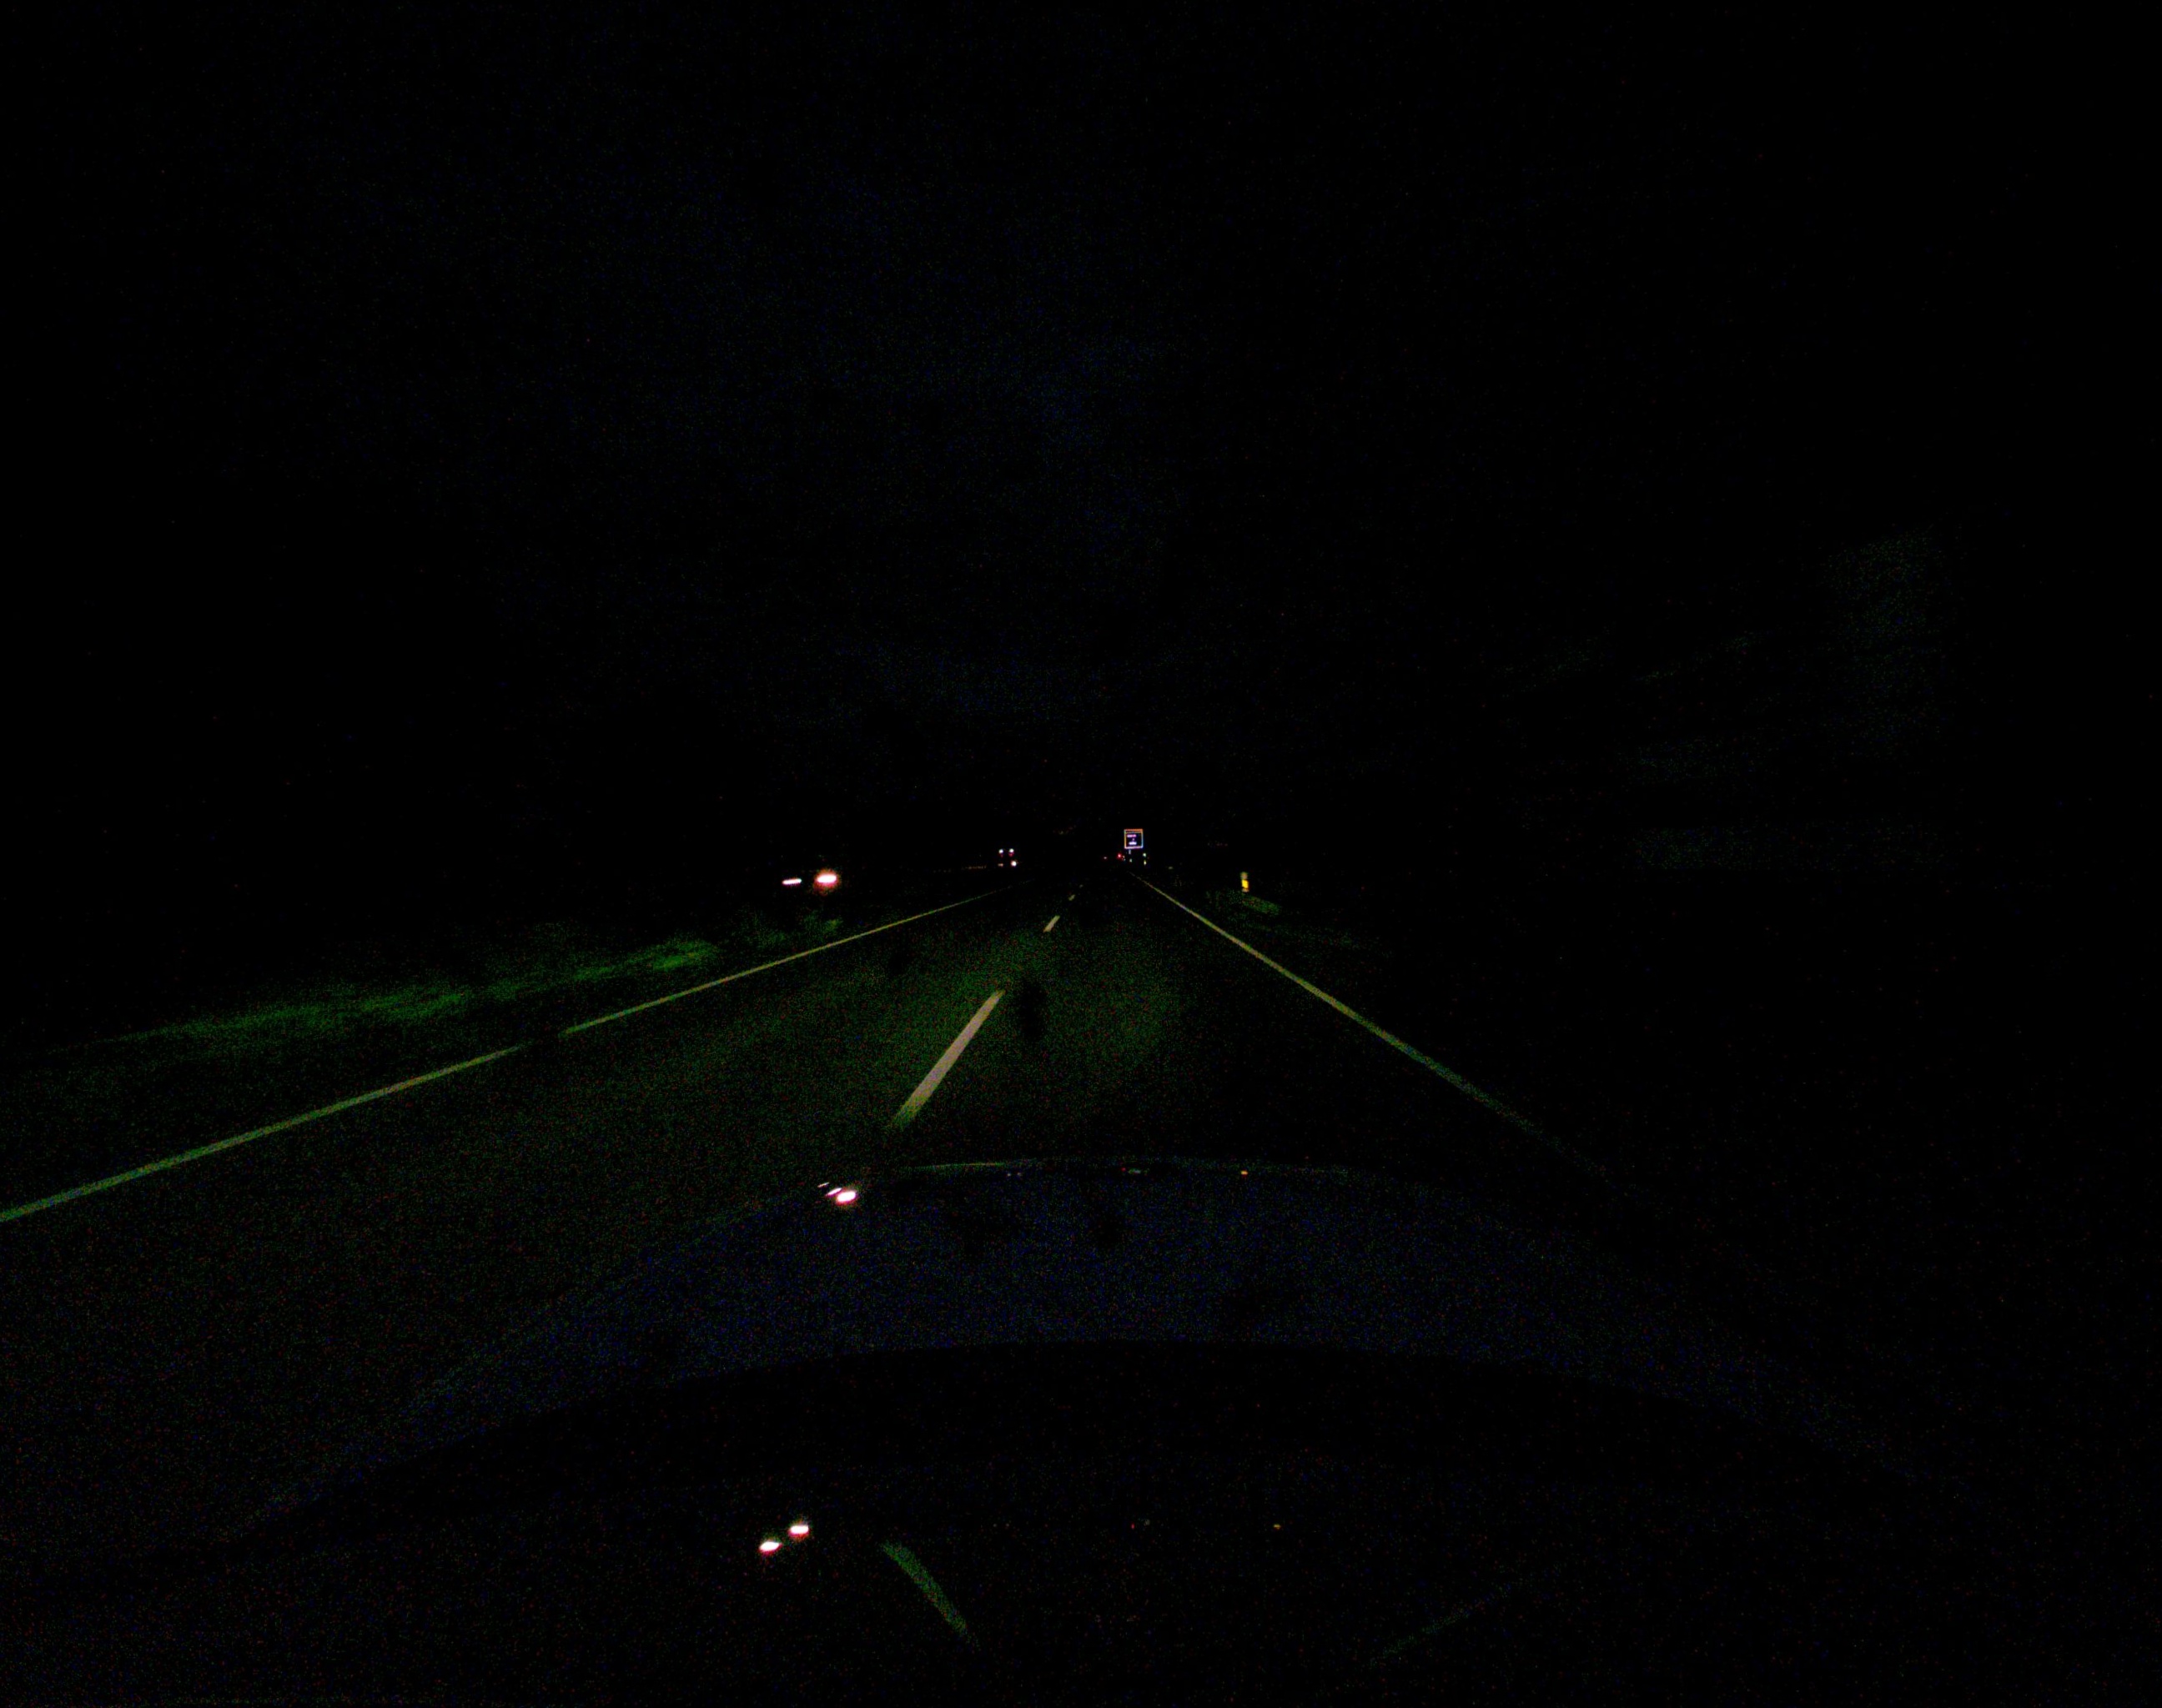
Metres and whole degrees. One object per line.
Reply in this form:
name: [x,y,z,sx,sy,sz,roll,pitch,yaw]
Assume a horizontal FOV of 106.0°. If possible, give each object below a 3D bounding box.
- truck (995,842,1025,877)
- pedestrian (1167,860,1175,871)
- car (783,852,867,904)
truck: [-11.519,0.896,134.110,3.191,5.255,12.612,-5,0,1]
pedestrian: [13.088,1.639,118.564,1.058,1.643,1.119,0,-1,2]
car: [-11.182,1.008,36.035,1.958,2.099,5.348,0,-1,1]
